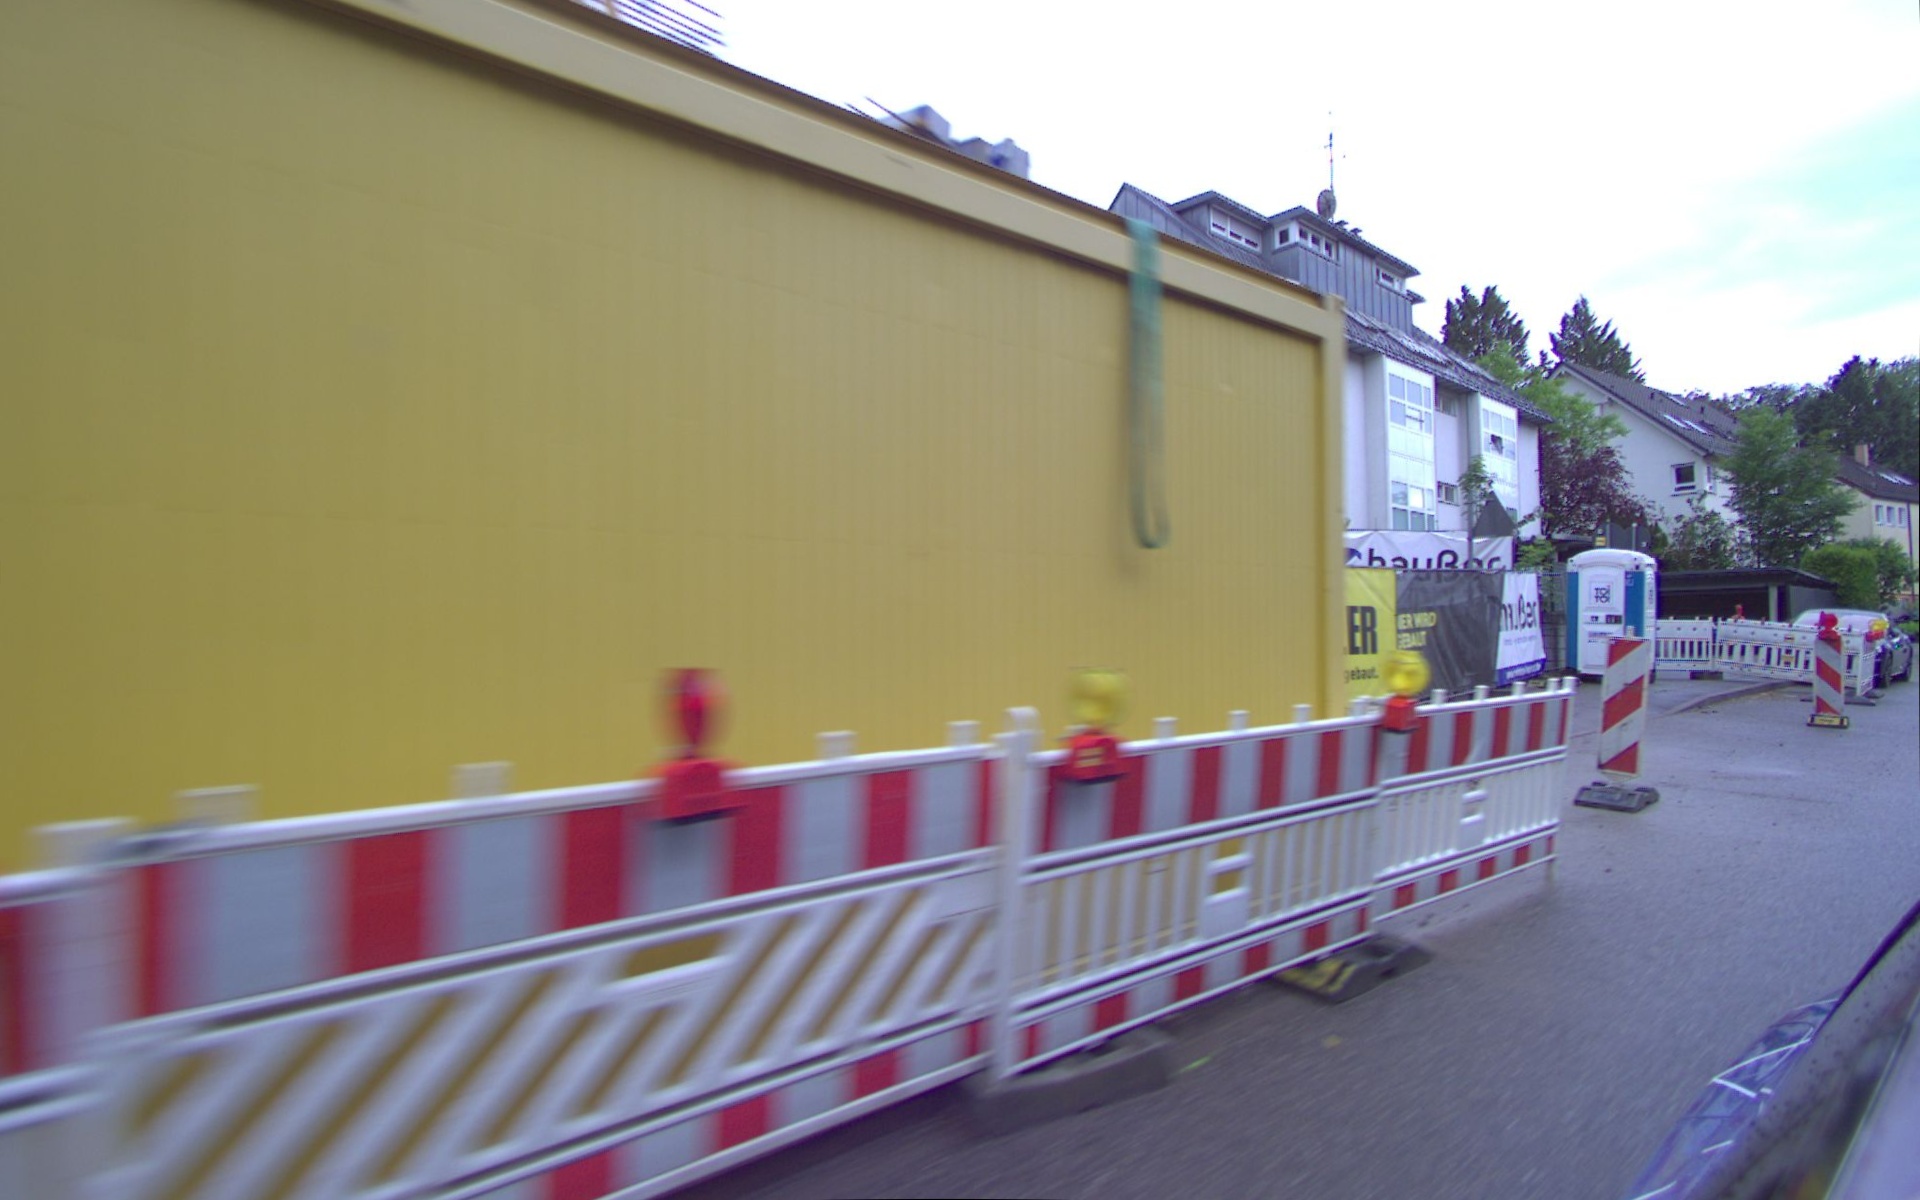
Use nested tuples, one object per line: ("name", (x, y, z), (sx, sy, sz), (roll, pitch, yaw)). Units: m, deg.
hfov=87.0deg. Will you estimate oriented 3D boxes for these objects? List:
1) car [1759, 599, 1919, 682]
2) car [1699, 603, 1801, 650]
("car", (17.407, 0.707, 19.818), (4.752, 1.440, 1.935), (0, 0, -41))
("car", (26.074, 0.858, 33.383), (3.927, 1.415, 1.738), (0, -3, -39))
